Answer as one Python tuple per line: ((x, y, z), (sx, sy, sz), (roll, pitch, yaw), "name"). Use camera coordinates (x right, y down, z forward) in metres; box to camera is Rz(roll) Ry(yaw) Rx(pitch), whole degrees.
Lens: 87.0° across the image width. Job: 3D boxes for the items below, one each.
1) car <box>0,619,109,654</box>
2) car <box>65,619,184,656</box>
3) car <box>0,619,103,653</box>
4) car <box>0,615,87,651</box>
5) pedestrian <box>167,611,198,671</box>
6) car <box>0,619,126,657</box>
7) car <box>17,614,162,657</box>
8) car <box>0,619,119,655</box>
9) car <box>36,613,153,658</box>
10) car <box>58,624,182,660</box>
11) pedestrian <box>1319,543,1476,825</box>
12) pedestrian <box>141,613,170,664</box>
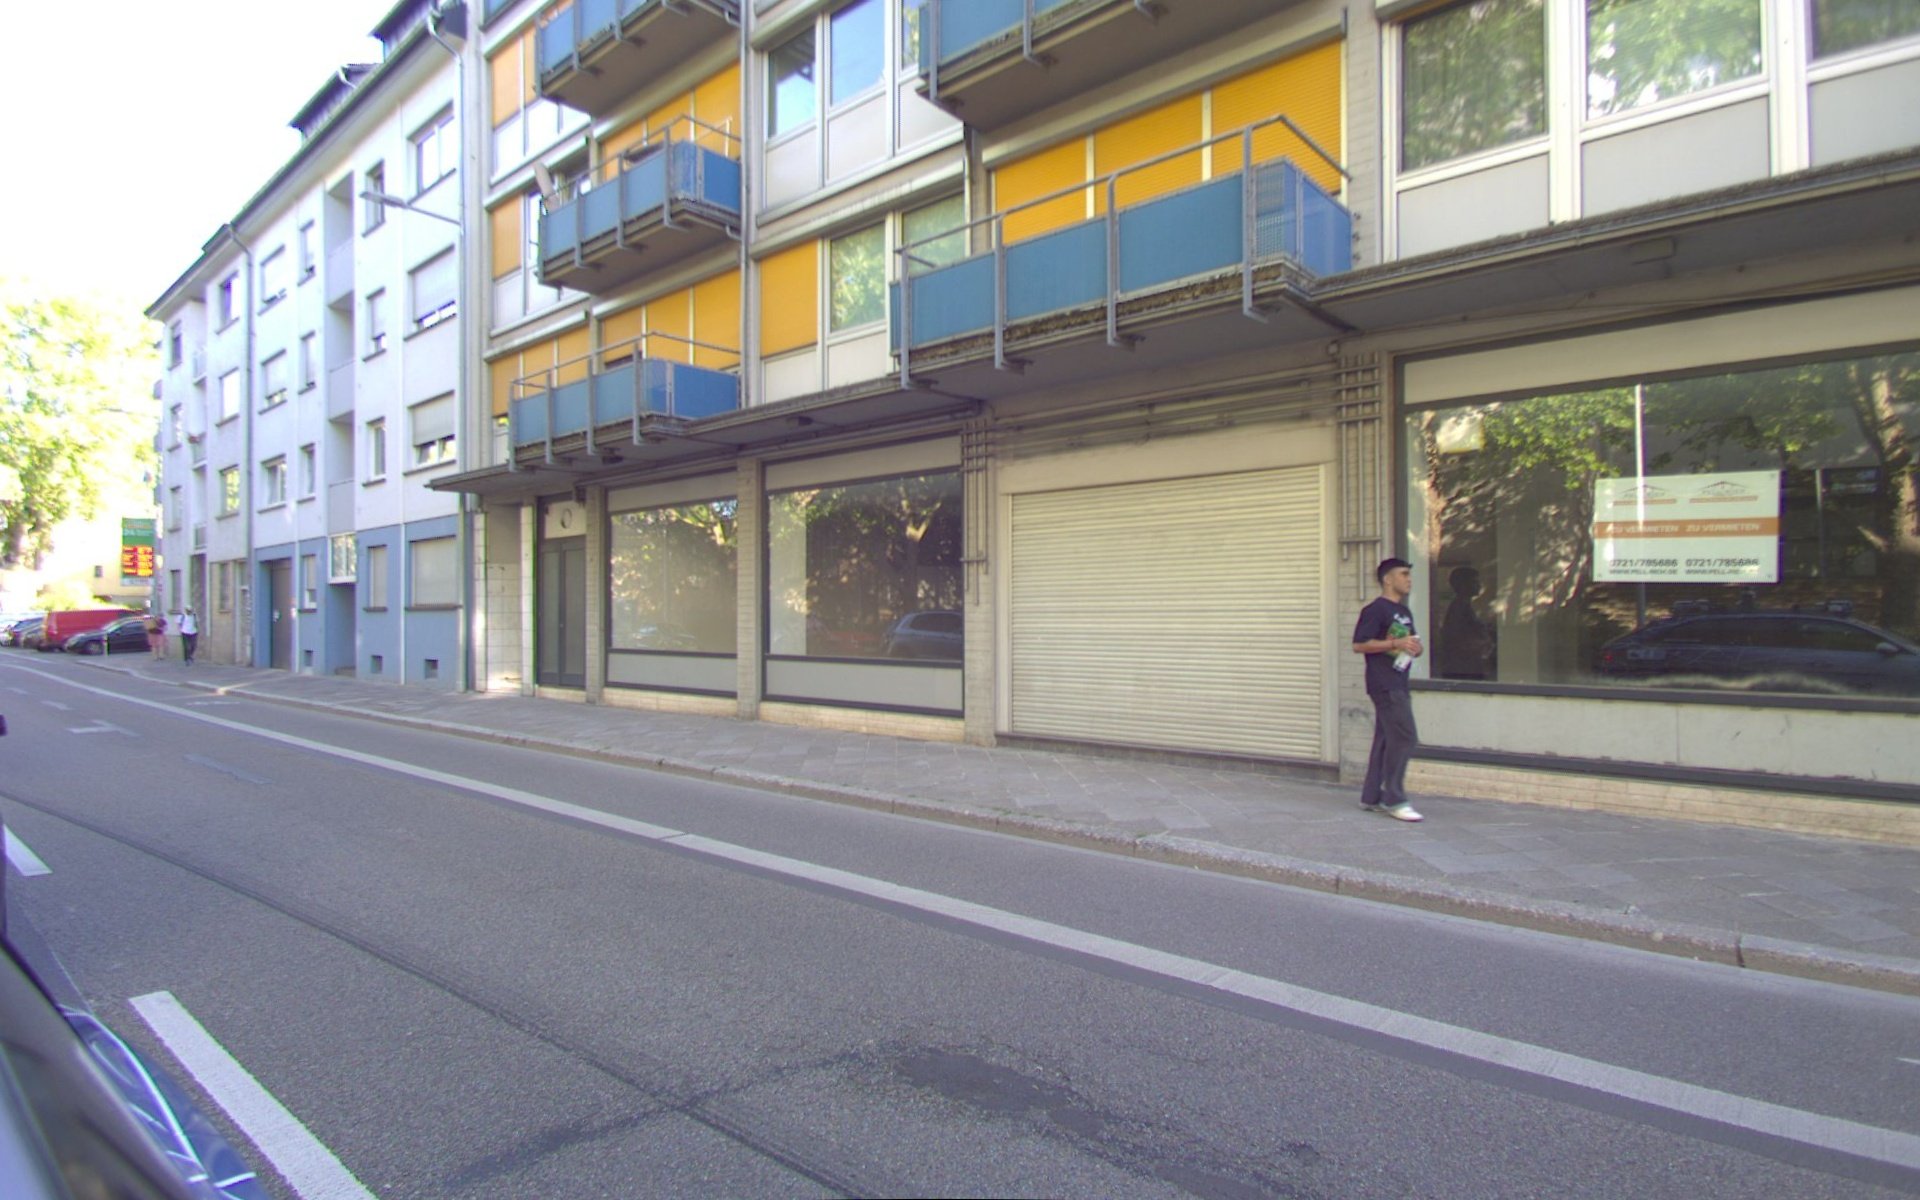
((-54.126, 2.123, 60.368), (2.082, 1.952, 4.928), (-1, -1, 41), "car")
((-37.880, 1.671, 45.956), (1.742, 1.572, 3.946), (-1, -1, 41), "car")
((-55.974, 2.151, 61.999), (2.314, 1.952, 4.978), (-1, -1, 41), "car")
((-59.348, 2.091, 64.725), (2.186, 2.164, 5.077), (-1, -1, 41), "car")
((-23.464, 1.223, 30.541), (0.756, 1.760, 0.600), (-1, 0, 41), "pedestrian")
((-50.301, 2.079, 56.843), (2.186, 1.952, 5.077), (-1, -1, 41), "car")
((-42.694, 1.694, 49.727), (2.256, 1.995, 5.156), (-1, -1, 41), "car")
((-52.241, 2.102, 58.731), (2.159, 1.952, 4.990), (-1, -1, 41), "car")
((-40.593, 1.627, 47.529), (1.866, 1.952, 3.946), (-1, -1, 41), "car")
((-36.556, 1.781, 44.090), (1.742, 1.431, 3.946), (-1, -1, 41), "car")
((2.992, 0.537, 6.926), (0.793, 1.785, 0.655), (-1, -1, 41), "pedestrian")
((-26.775, 1.276, 33.682), (0.842, 1.654, 0.596), (-1, 0, 41), "pedestrian")
